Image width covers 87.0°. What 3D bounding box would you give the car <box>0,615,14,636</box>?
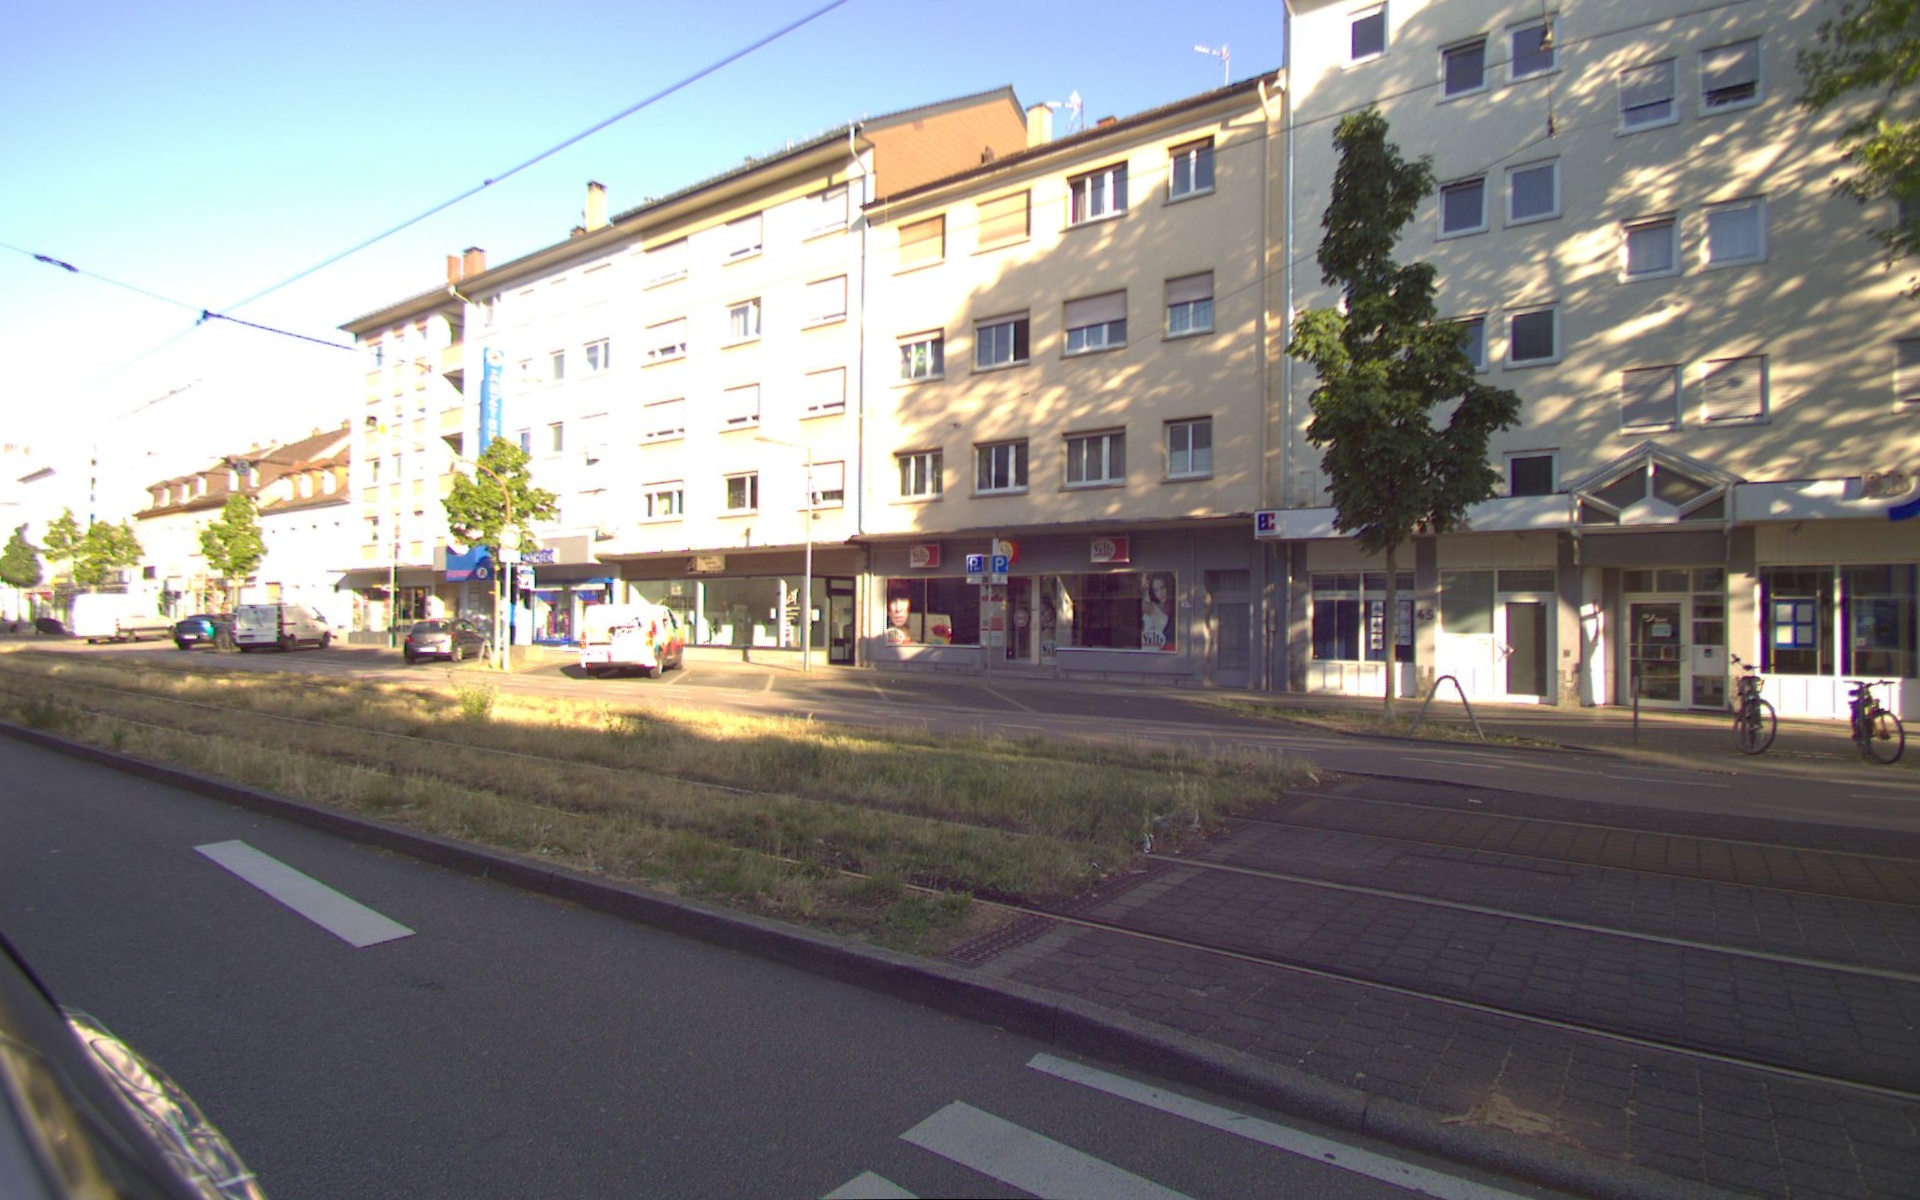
[{"bbox_3d":[-73.394,1.945,75.456,1.752,1.501,3.899,-1,0,13],"label":"car"}]

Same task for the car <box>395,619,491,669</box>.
[{"bbox_3d":[-17.613,1.458,34.701,1.741,1.501,4.461,-1,0,-11],"label":"car"}]

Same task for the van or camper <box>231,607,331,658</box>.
[{"bbox_3d":[-28.564,1.306,42.756,1.771,2.004,4.460,-1,0,-9],"label":"van or camper"}]

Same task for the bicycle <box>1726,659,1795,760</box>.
[{"bbox_3d":[10.369,1.371,13.155,0.533,1.133,1.878,-1,-1,34],"label":"bicycle"}]

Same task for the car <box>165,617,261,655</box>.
[{"bbox_3d":[-34.297,1.604,46.578,1.850,1.598,4.007,-1,0,-7],"label":"car"}]

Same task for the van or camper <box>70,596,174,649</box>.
[{"bbox_3d":[-45.383,1.171,55.016,1.966,2.687,6.417,-1,0,-16],"label":"van or camper"}]

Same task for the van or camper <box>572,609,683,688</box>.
[{"bbox_3d":[-8.887,1.218,27.490,1.921,1.912,4.822,-1,0,-6],"label":"van or camper"}]

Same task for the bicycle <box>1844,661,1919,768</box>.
[{"bbox_3d":[11.394,1.365,12.436,0.533,1.133,1.878,-1,-1,34],"label":"bicycle"}]
